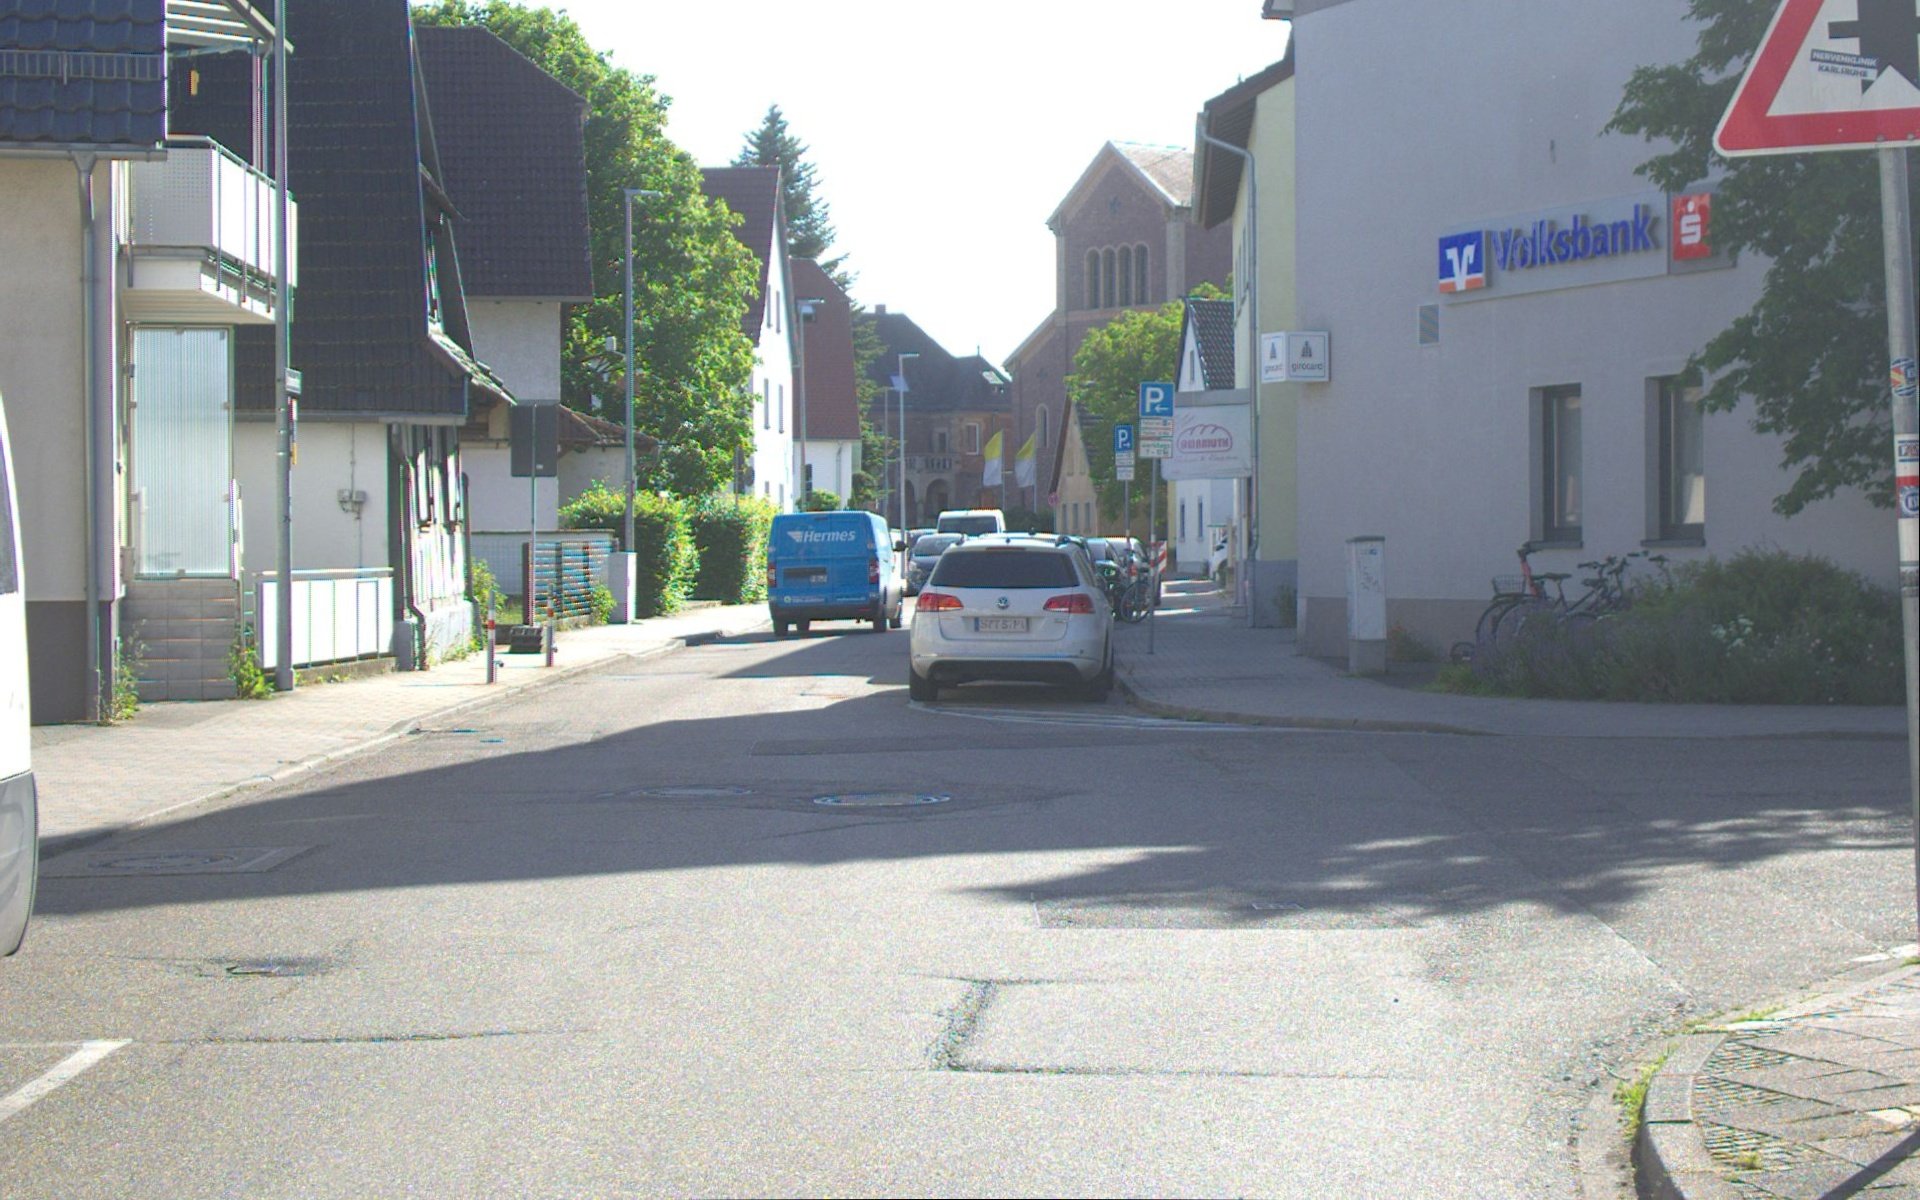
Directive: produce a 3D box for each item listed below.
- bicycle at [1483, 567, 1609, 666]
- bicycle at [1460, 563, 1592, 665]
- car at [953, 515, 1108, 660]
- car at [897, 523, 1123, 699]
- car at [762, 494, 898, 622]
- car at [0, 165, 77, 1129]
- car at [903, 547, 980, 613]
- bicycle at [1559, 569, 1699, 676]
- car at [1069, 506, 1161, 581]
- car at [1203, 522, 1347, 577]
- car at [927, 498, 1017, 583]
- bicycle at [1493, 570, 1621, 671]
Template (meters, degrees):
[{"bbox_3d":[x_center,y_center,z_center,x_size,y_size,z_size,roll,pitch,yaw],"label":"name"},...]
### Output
[{"bbox_3d":[5.571,0.155,32.667,1.163,0.917,0.313,-1,1,10],"label":"bicycle"},{"bbox_3d":[5.493,0.138,33.347,1.223,0.972,0.320,-1,1,15],"label":"bicycle"},{"bbox_3d":[0.774,-0.180,38.442,1.610,1.515,3.971,1,1,1],"label":"car"},{"bbox_3d":[0.545,0.046,32.280,1.846,1.508,4.506,0,1,4],"label":"car"},{"bbox_3d":[-2.034,-0.695,55.118,1.902,1.911,5.070,-2,1,0],"label":"car"},{"bbox_3d":[-3.532,0.173,6.755,2.252,2.462,5.517,-1,1,-1],"label":"car"},{"bbox_3d":[-0.460,-0.544,90.402,1.715,1.593,3.925,-2,1,4],"label":"car"},{"bbox_3d":[5.900,0.193,30.338,1.163,0.917,0.313,-1,1,0],"label":"bicycle"},{"bbox_3d":[3.156,-1.169,70.007,1.811,1.470,4.659,0,1,3],"label":"car"},{"bbox_3d":[9.120,-1.475,99.532,3.914,1.487,1.846,-1,1,13],"label":"car"},{"bbox_3d":[0.408,-1.799,102.523,2.197,2.381,6.064,-2,1,4],"label":"car"},{"bbox_3d":[5.565,0.193,32.069,1.163,0.917,0.313,-1,1,10],"label":"bicycle"}]
